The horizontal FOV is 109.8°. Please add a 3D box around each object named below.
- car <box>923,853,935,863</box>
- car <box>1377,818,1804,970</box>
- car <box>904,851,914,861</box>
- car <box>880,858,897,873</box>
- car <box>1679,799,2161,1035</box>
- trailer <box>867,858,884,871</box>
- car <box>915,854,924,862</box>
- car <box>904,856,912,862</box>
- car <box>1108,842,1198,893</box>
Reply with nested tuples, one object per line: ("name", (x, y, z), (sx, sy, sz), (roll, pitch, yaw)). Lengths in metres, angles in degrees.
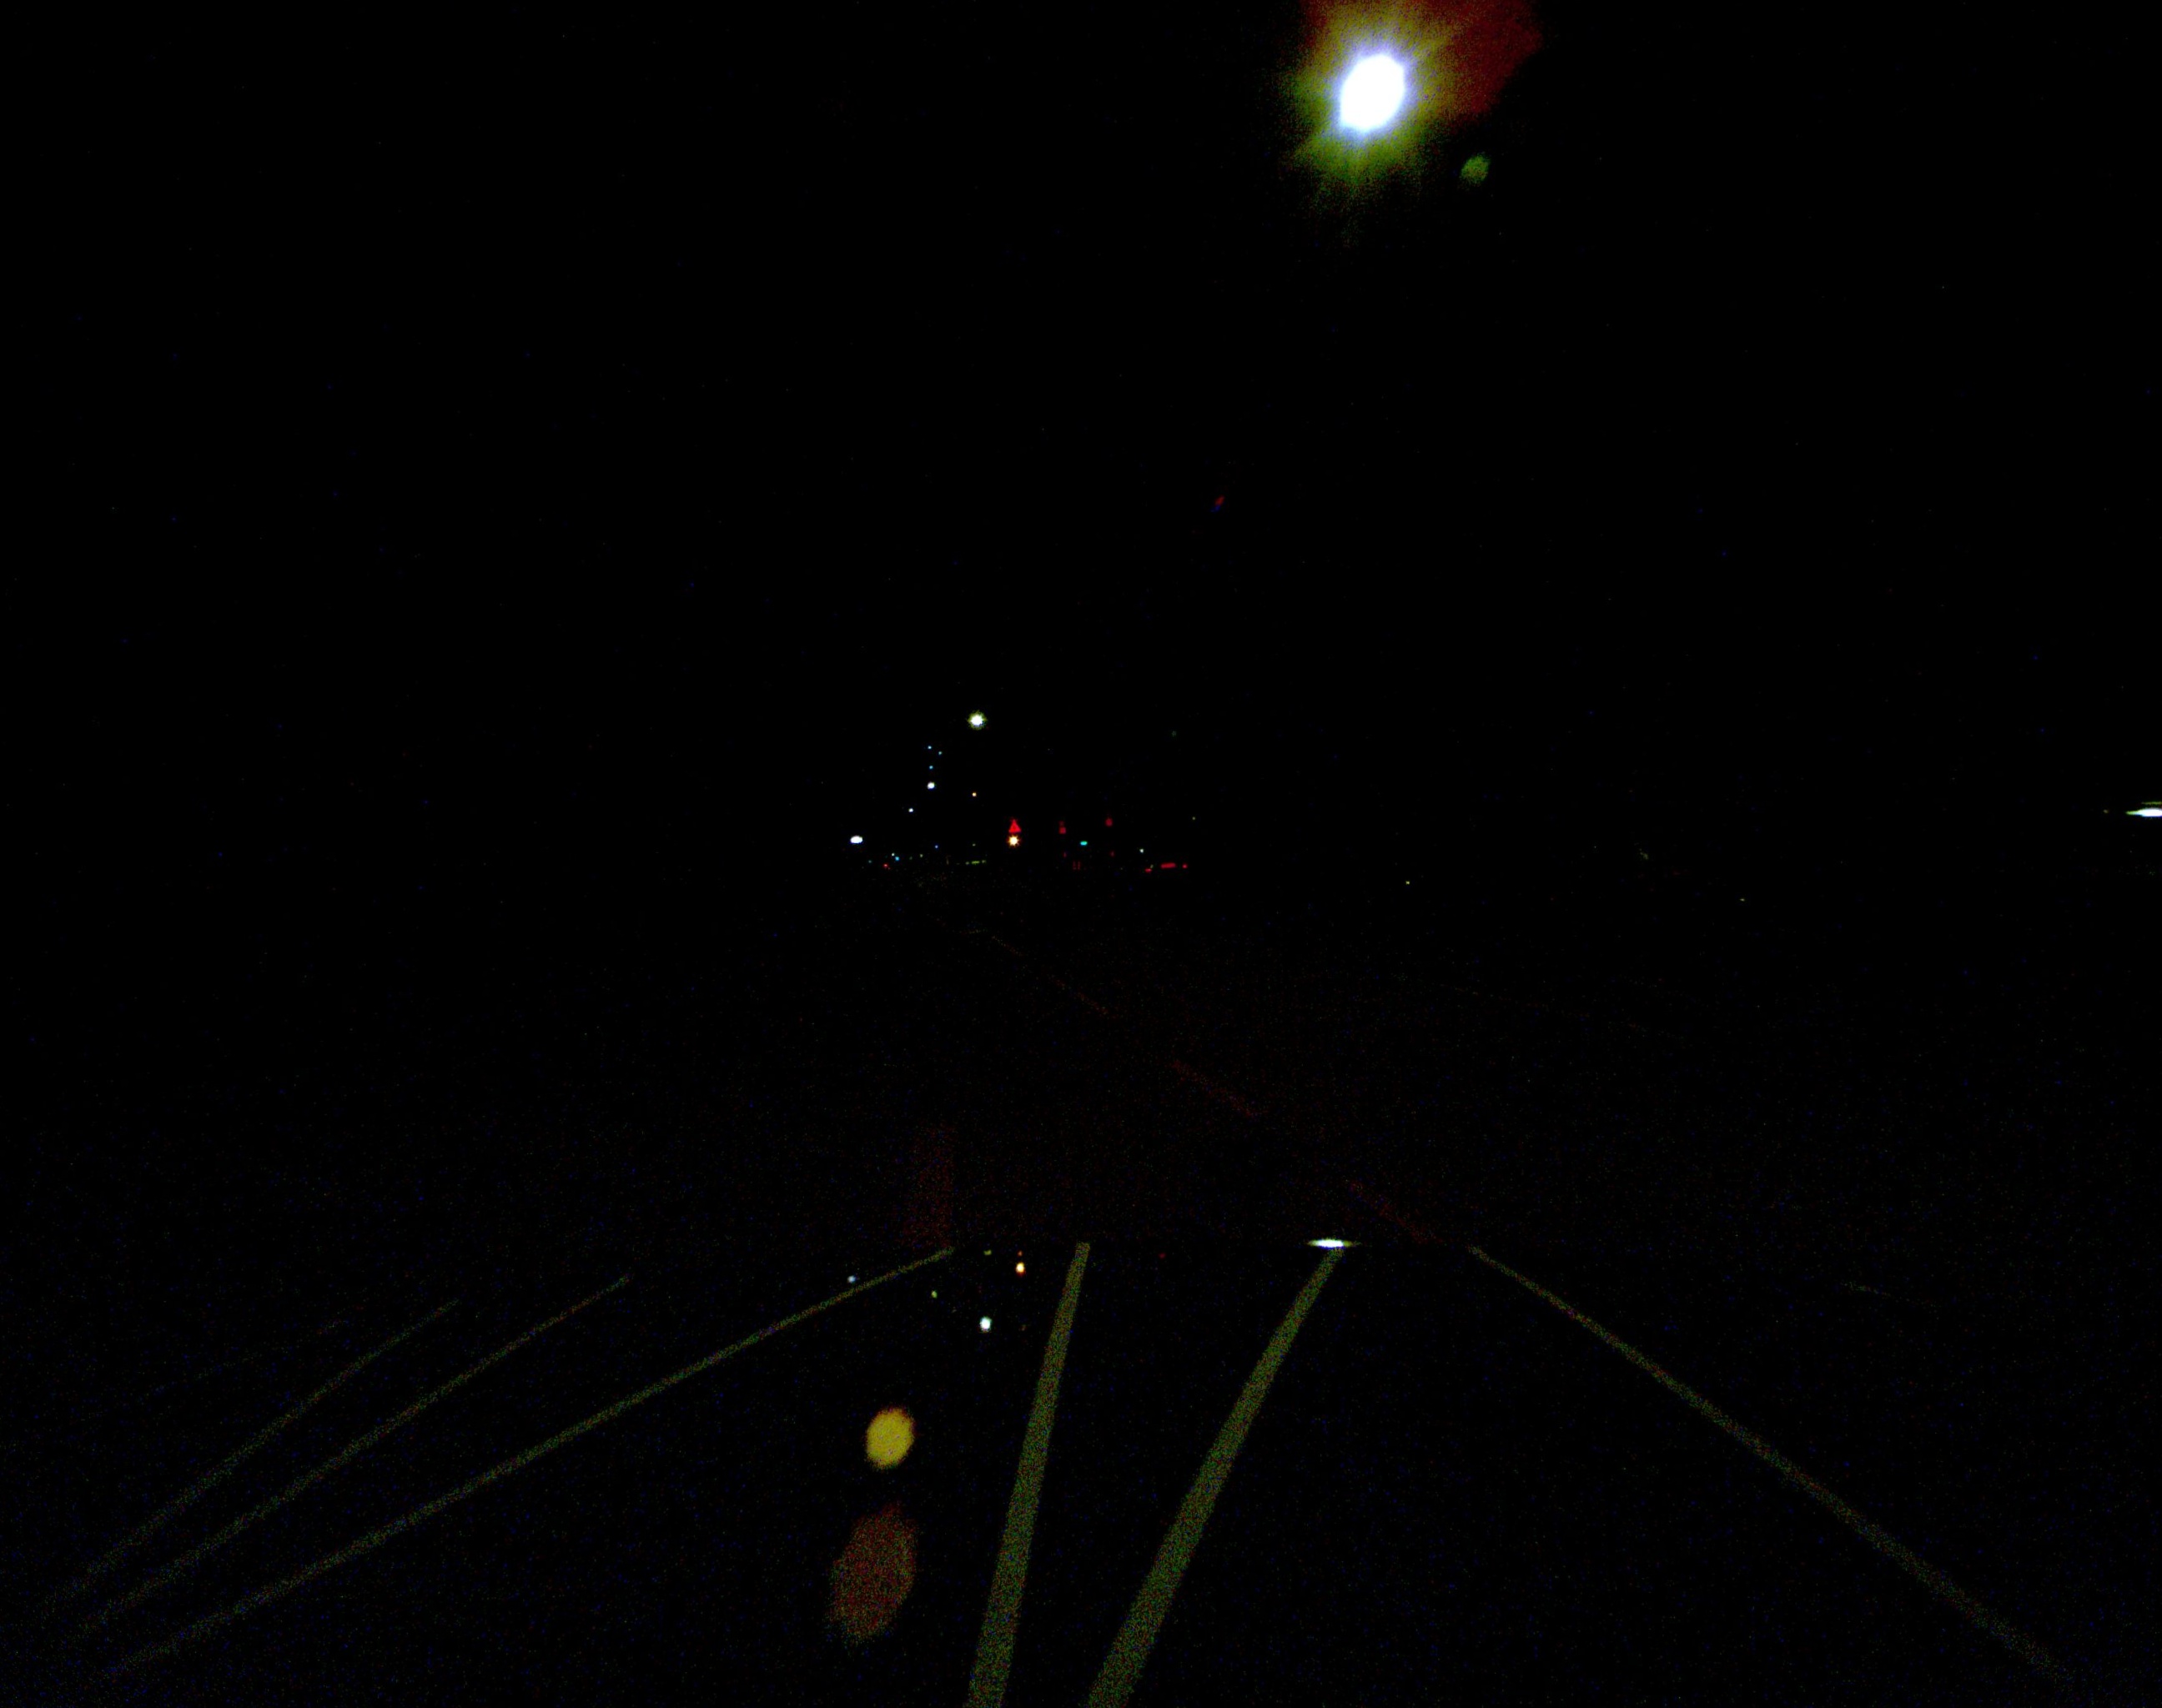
("car", (-28.855, 0.748, 144.478), (1.884, 1.799, 3.726), (-7, 1, -13))
("car", (6.357, 0.405, 10.322), (1.775, 1.477, 4.761), (-3, 1, -16))
("car", (-48.593, 0.513, 214.676), (2.007, 2.493, 4.947), (-7, 1, -16))
("car", (-21.727, 1.292, 85.737), (1.592, 1.453, 3.792), (-5, 1, -12))
("car", (7.550, 0.361, 5.568), (1.774, 1.477, 4.857), (-3, 1, -15))
("trailer", (-25.440, 1.255, 93.967), (1.606, 1.486, 3.730), (-5, 1, -11))
("car", (-36.525, 0.906, 171.399), (1.828, 1.637, 3.726), (-3, 1, -14))
("car", (-46.310, 1.296, 203.174), (1.828, 1.424, 3.726), (-7, 1, -16))
("car", (2.397, 0.445, 26.345), (1.720, 1.485, 3.985), (-5, 1, -14))
